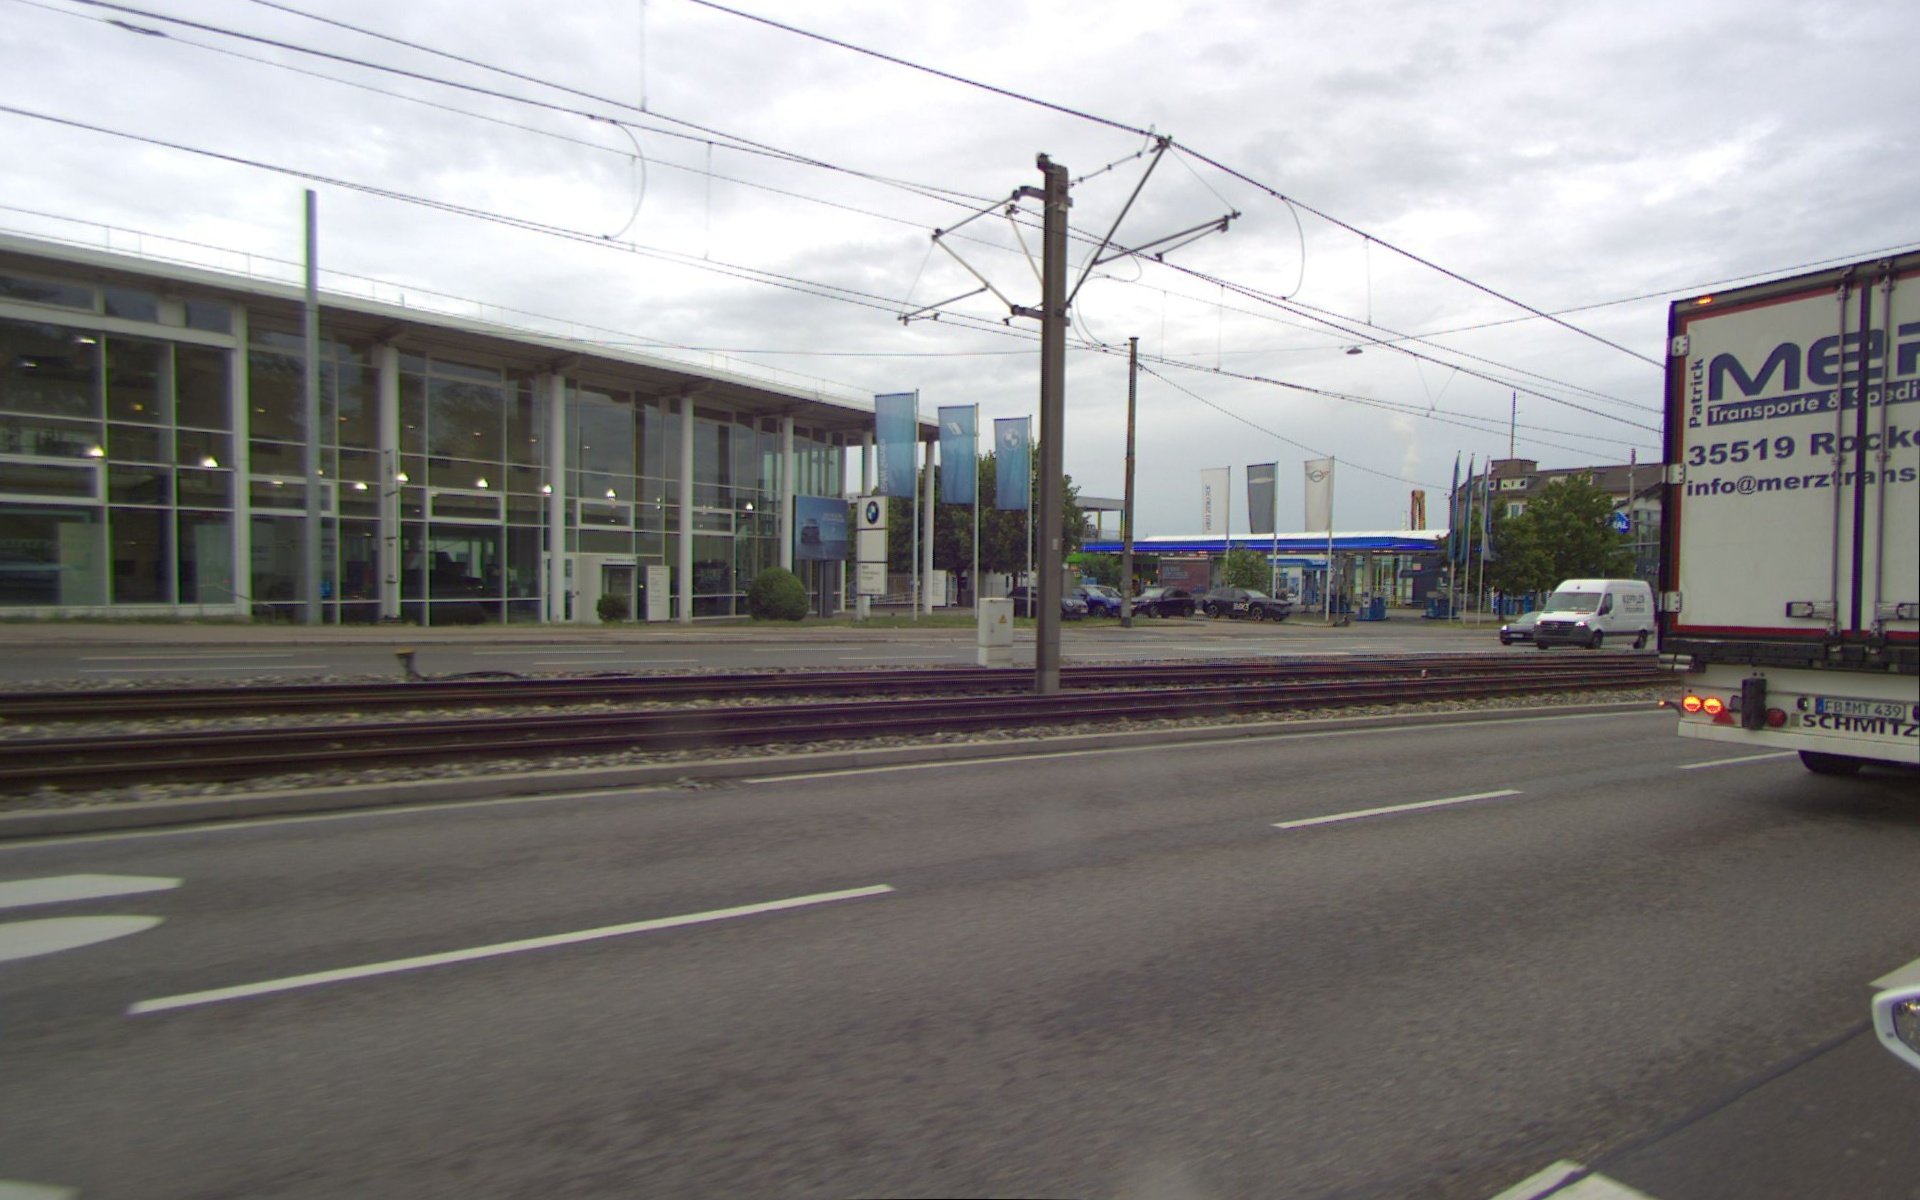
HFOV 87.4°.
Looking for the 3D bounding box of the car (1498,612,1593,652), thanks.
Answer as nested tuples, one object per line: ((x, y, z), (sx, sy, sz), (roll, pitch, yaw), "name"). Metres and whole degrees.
((24.329, 1.324, 41.720), (4.295, 1.536, 1.730), (1, 1, -34), "car")

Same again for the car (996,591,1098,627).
((3.628, 0.358, 42.143), (3.935, 1.252, 1.697), (3, 4, 36), "car")

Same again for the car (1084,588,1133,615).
((9.152, 0.077, 61.785), (2.774, 1.594, 1.372), (1, 2, -36), "car")

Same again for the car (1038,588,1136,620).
((5.619, 0.183, 44.519), (3.935, 1.251, 1.754), (2, 0, 36), "car")

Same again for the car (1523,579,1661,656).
((23.422, 0.623, 37.132), (6.103, 2.633, 2.037), (1, 1, -35), "car")

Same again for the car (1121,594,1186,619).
((10.459, 0.362, 54.287), (3.399, 1.260, 1.574), (1, 1, -38), "car")

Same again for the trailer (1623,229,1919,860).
((11.811, -0.301, 10.774), (13.037, 4.309, 2.747), (1, 0, -32), "trailer")

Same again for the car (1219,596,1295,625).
((15.025, 0.524, 50.944), (1.696, 1.291, 3.499), (1, 1, -29), "car")

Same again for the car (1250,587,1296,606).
((29.779, -0.355, 95.715), (1.836, 1.662, 3.965), (1, 1, -31), "car")
